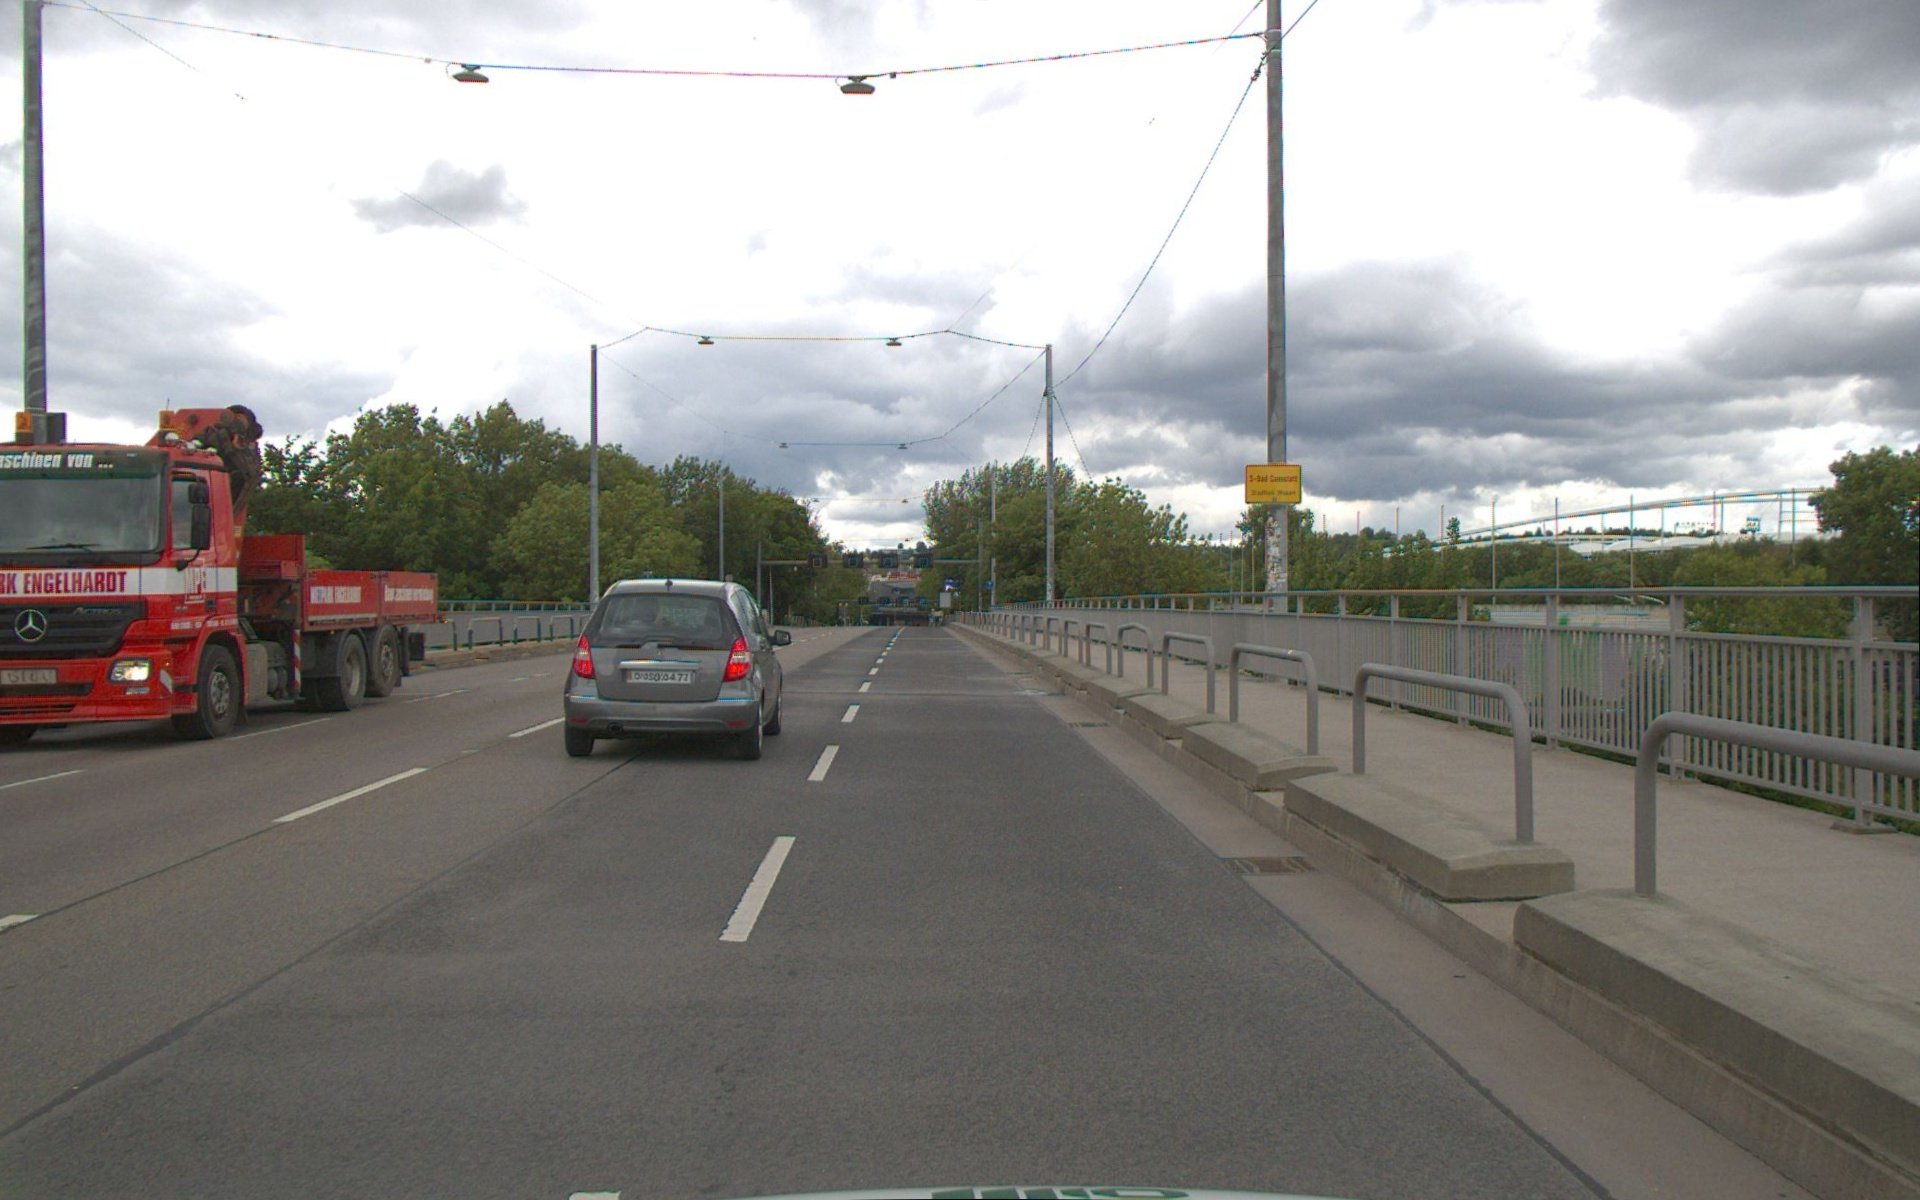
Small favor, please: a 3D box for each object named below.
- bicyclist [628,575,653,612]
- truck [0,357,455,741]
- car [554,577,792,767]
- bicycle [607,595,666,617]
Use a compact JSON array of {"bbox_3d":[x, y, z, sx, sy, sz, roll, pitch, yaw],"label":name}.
[{"bbox_3d":[-15.438,-0.313,80.003,1.111,1.795,0.904,0,0,-7],"label":"bicyclist"},{"bbox_3d":[-9.228,-0.533,20.708,2.945,3.628,9.979,-1,1,-2],"label":"truck"},{"bbox_3d":[-2.612,0.586,15.855,1.710,1.577,3.870,1,1,-2],"label":"car"},{"bbox_3d":[-15.650,0.285,79.983,2.737,1.069,0.919,0,0,-7],"label":"bicycle"}]
